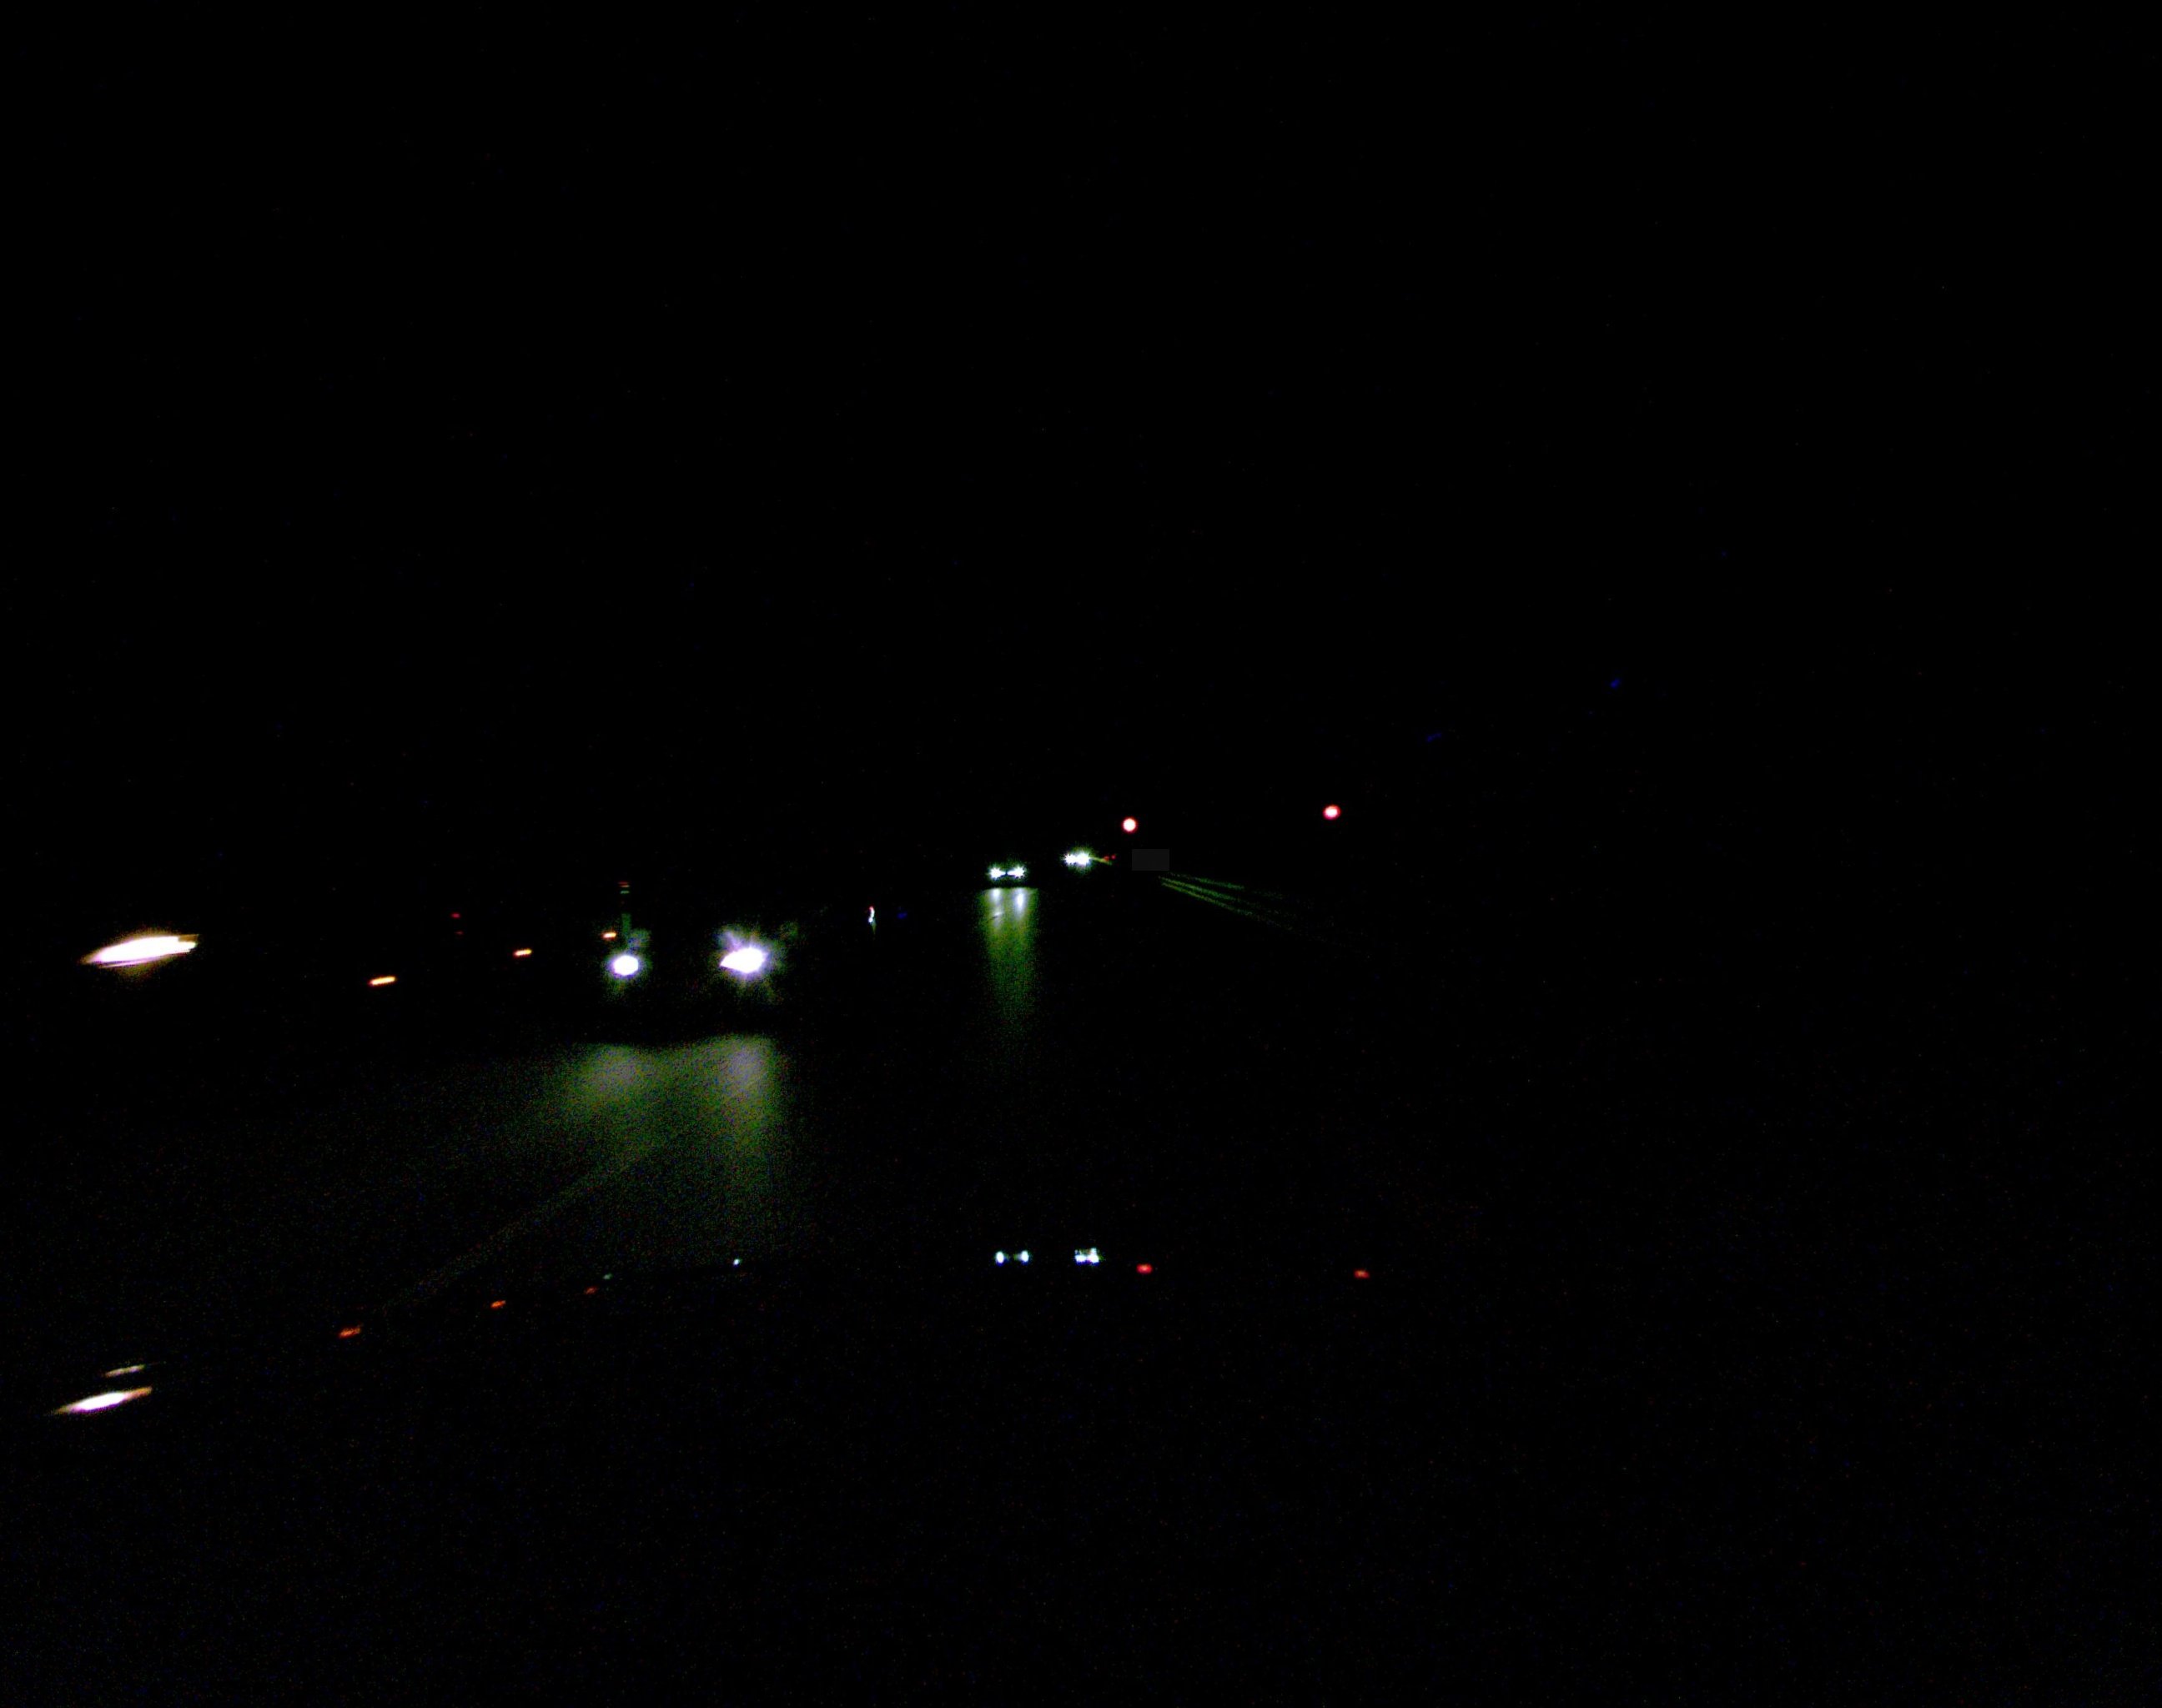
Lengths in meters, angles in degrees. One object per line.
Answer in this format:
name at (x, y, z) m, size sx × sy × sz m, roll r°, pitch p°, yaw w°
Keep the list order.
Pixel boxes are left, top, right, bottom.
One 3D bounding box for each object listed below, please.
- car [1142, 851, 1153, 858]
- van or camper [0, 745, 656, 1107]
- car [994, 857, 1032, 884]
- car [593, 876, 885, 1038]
car at (14.923, 0.157, 170.101) m, size 1.998 × 1.542 × 5.004 m, roll 2°, pitch 0°, yaw 0°
van or camper at (-8.285, 0.578, 9.261) m, size 2.212 × 2.755 × 6.804 m, roll -2°, pitch 0°, yaw 1°
car at (-4.053, 0.955, 45.718) m, size 1.795 × 1.532 × 4.225 m, roll -1°, pitch 0°, yaw 1°
car at (-3.908, 1.074, 9.589) m, size 1.690 × 1.405 × 4.225 m, roll -1°, pitch 1°, yaw 1°
